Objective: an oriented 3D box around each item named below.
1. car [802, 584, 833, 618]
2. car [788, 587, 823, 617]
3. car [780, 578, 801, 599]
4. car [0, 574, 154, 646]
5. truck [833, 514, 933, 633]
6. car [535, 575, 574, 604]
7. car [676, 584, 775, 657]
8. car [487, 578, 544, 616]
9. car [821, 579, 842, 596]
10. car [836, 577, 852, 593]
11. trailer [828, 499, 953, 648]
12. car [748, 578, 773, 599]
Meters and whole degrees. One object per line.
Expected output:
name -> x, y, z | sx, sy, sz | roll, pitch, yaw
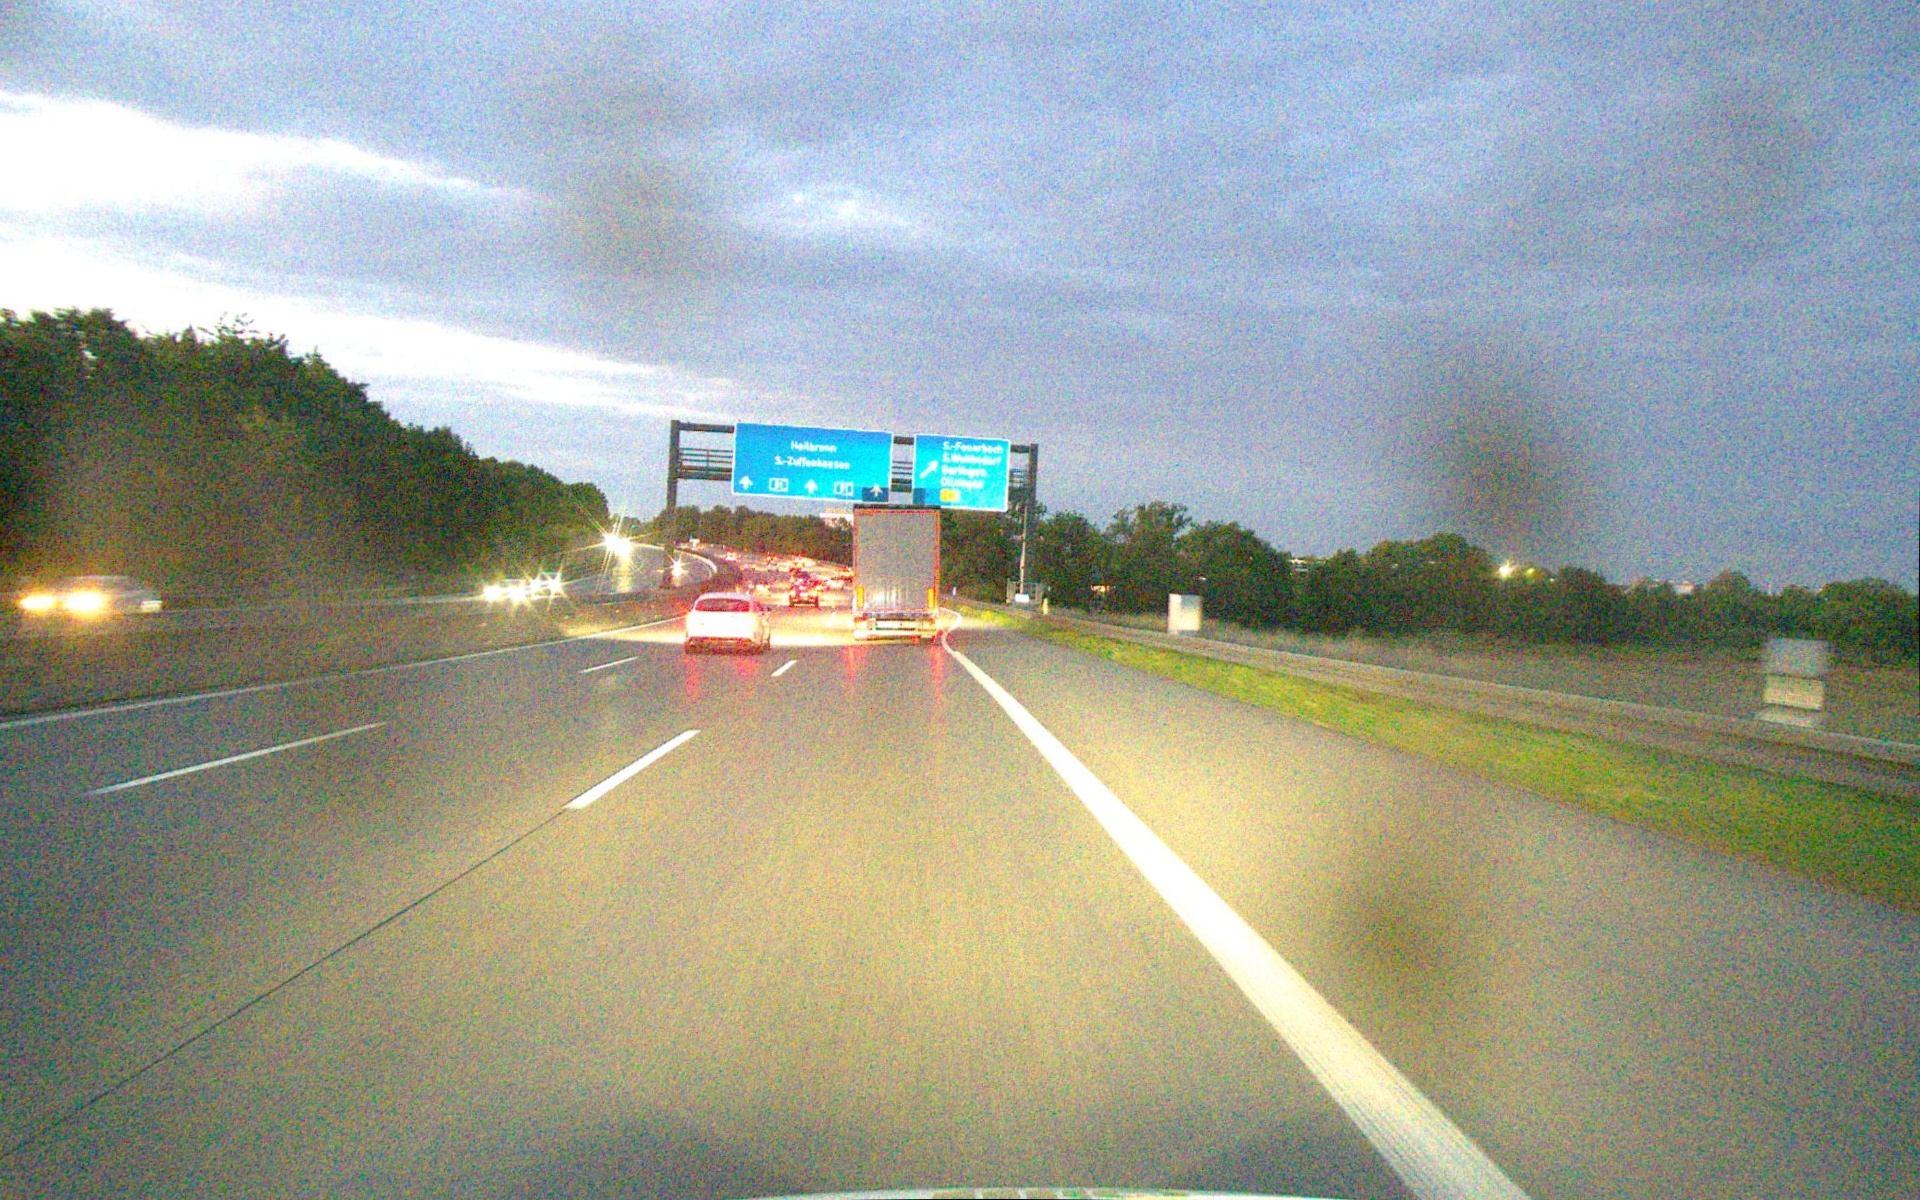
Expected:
car -> -10.541, 0.094, 122.161 | 1.956, 2.422, 3.992 | 2, -1, -8
car -> -9.609, 0.143, 103.354 | 2.024, 1.715, 4.572 | 2, -1, -4
car -> -17.390, -1.178, 169.823 | 1.954, 2.049, 3.997 | 2, -1, -3
car -> -25.541, 0.313, 48.022 | 1.954, 1.926, 5.054 | 2, -1, -3
truck -> -2.929, -0.961, 61.216 | 3.480, 4.162, 6.147 | 0, 1, -4
car -> -29.387, -0.717, 119.988 | 1.954, 1.926, 4.674 | 2, -1, -4
car -> -5.685, 0.513, 40.599 | 1.868, 1.642, 4.801 | 2, -1, -2
car -> -23.925, -0.145, 89.145 | 1.838, 1.926, 5.054 | 2, -1, -3
car -> -13.499, -1.293, 174.033 | 1.953, 1.561, 3.998 | 2, -1, -2
car -> -14.968, -1.937, 213.868 | 1.954, 2.013, 3.997 | 2, -1, -4
trailer -> -2.469, -0.859, 54.204 | 3.480, 4.188, 15.052 | 0, 1, -4
car -> -16.242, -0.923, 134.908 | 1.727, 1.602, 4.573 | 2, -1, -4
